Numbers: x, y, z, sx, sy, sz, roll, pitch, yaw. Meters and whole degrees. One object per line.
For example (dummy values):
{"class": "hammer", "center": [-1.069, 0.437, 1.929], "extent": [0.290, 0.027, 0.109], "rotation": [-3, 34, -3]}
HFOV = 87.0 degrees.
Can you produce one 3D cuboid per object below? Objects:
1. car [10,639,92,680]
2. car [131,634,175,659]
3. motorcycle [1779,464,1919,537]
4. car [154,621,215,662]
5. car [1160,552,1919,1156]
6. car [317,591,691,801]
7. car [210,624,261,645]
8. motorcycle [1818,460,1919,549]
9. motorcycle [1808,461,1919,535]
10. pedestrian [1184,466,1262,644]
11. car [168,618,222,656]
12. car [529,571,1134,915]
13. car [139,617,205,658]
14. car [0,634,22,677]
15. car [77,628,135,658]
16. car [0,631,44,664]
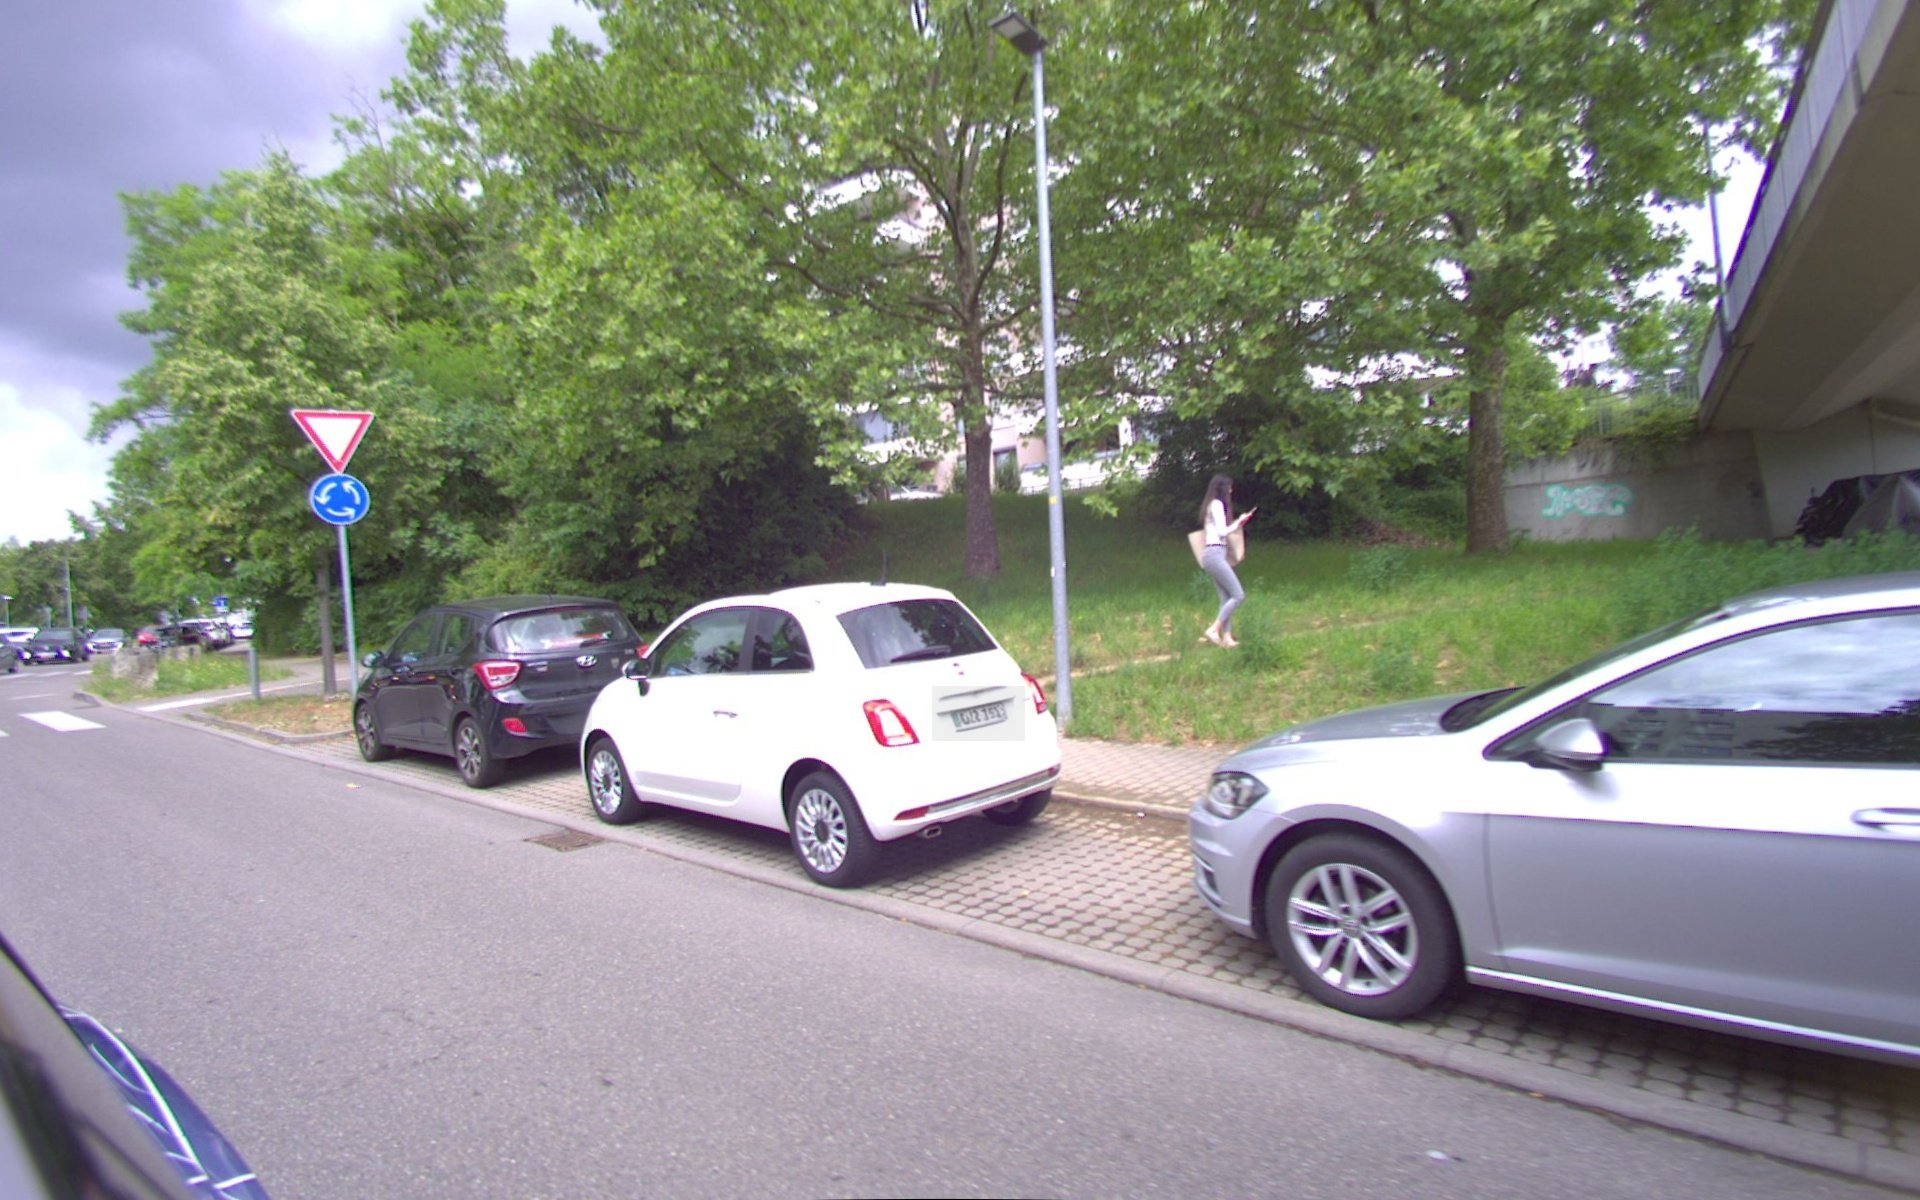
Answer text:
{"class": "car", "center": [-40.816, 2.626, 45.545], "extent": [1.730, 1.628, 4.013], "rotation": [-4, 0, -28]}
{"class": "car", "center": [-59.895, 3.437, 75.154], "extent": [1.730, 1.628, 4.013], "rotation": [-4, 0, -28]}
{"class": "motorcycle", "center": [18.774, -2.066, 21.269], "extent": [2.311, 1.280, 0.876], "rotation": [-4, 0, 36]}
{"class": "car", "center": [-36.463, 1.902, 47.677], "extent": [1.775, 1.627, 4.490], "rotation": [-7, 3, -33]}
{"class": "car", "center": [2.871, 0.583, 3.155], "extent": [3.998, 1.438, 1.865], "rotation": [-1, 1, 41]}
{"class": "car", "center": [-4.445, 0.746, 9.579], "extent": [4.000, 1.479, 1.767], "rotation": [-1, 2, 43]}
{"class": "car", "center": [-65.707, 3.148, 91.748], "extent": [3.965, 1.652, 1.663], "rotation": [-4, 0, 17]}
{"class": "motorcycle", "center": [15.162, -1.541, 16.132], "extent": [0.871, 1.280, 2.052], "rotation": [-3, 0, -32]}
{"class": "motorcycle", "center": [18.472, -2.045, 20.152], "extent": [2.311, 1.280, 0.876], "rotation": [-4, 0, 36]}
{"class": "pedestrian", "center": [2.701, -0.447, 10.448], "extent": [0.653, 1.734, 0.736], "rotation": [-4, 0, 13]}
{"class": "car", "center": [-39.490, 1.896, 52.314], "extent": [1.783, 1.676, 4.449], "rotation": [-7, 2, -33]}
{"class": "car", "center": [-0.953, 0.676, 6.404], "extent": [3.545, 1.471, 1.865], "rotation": [-2, 2, 42]}
{"class": "car", "center": [-33.369, 1.569, 42.939], "extent": [1.667, 1.475, 4.468], "rotation": [-7, 2, -33]}
{"class": "car", "center": [-34.686, 2.013, 35.386], "extent": [1.730, 1.527, 4.013], "rotation": [-4, 0, -28]}
{"class": "car", "center": [-51.070, 2.549, 60.592], "extent": [1.730, 1.628, 4.013], "rotation": [-4, 0, -28]}
{"class": "car", "center": [-51.971, 2.597, 54.495], "extent": [3.619, 1.659, 1.857], "rotation": [-1, -1, -31]}
